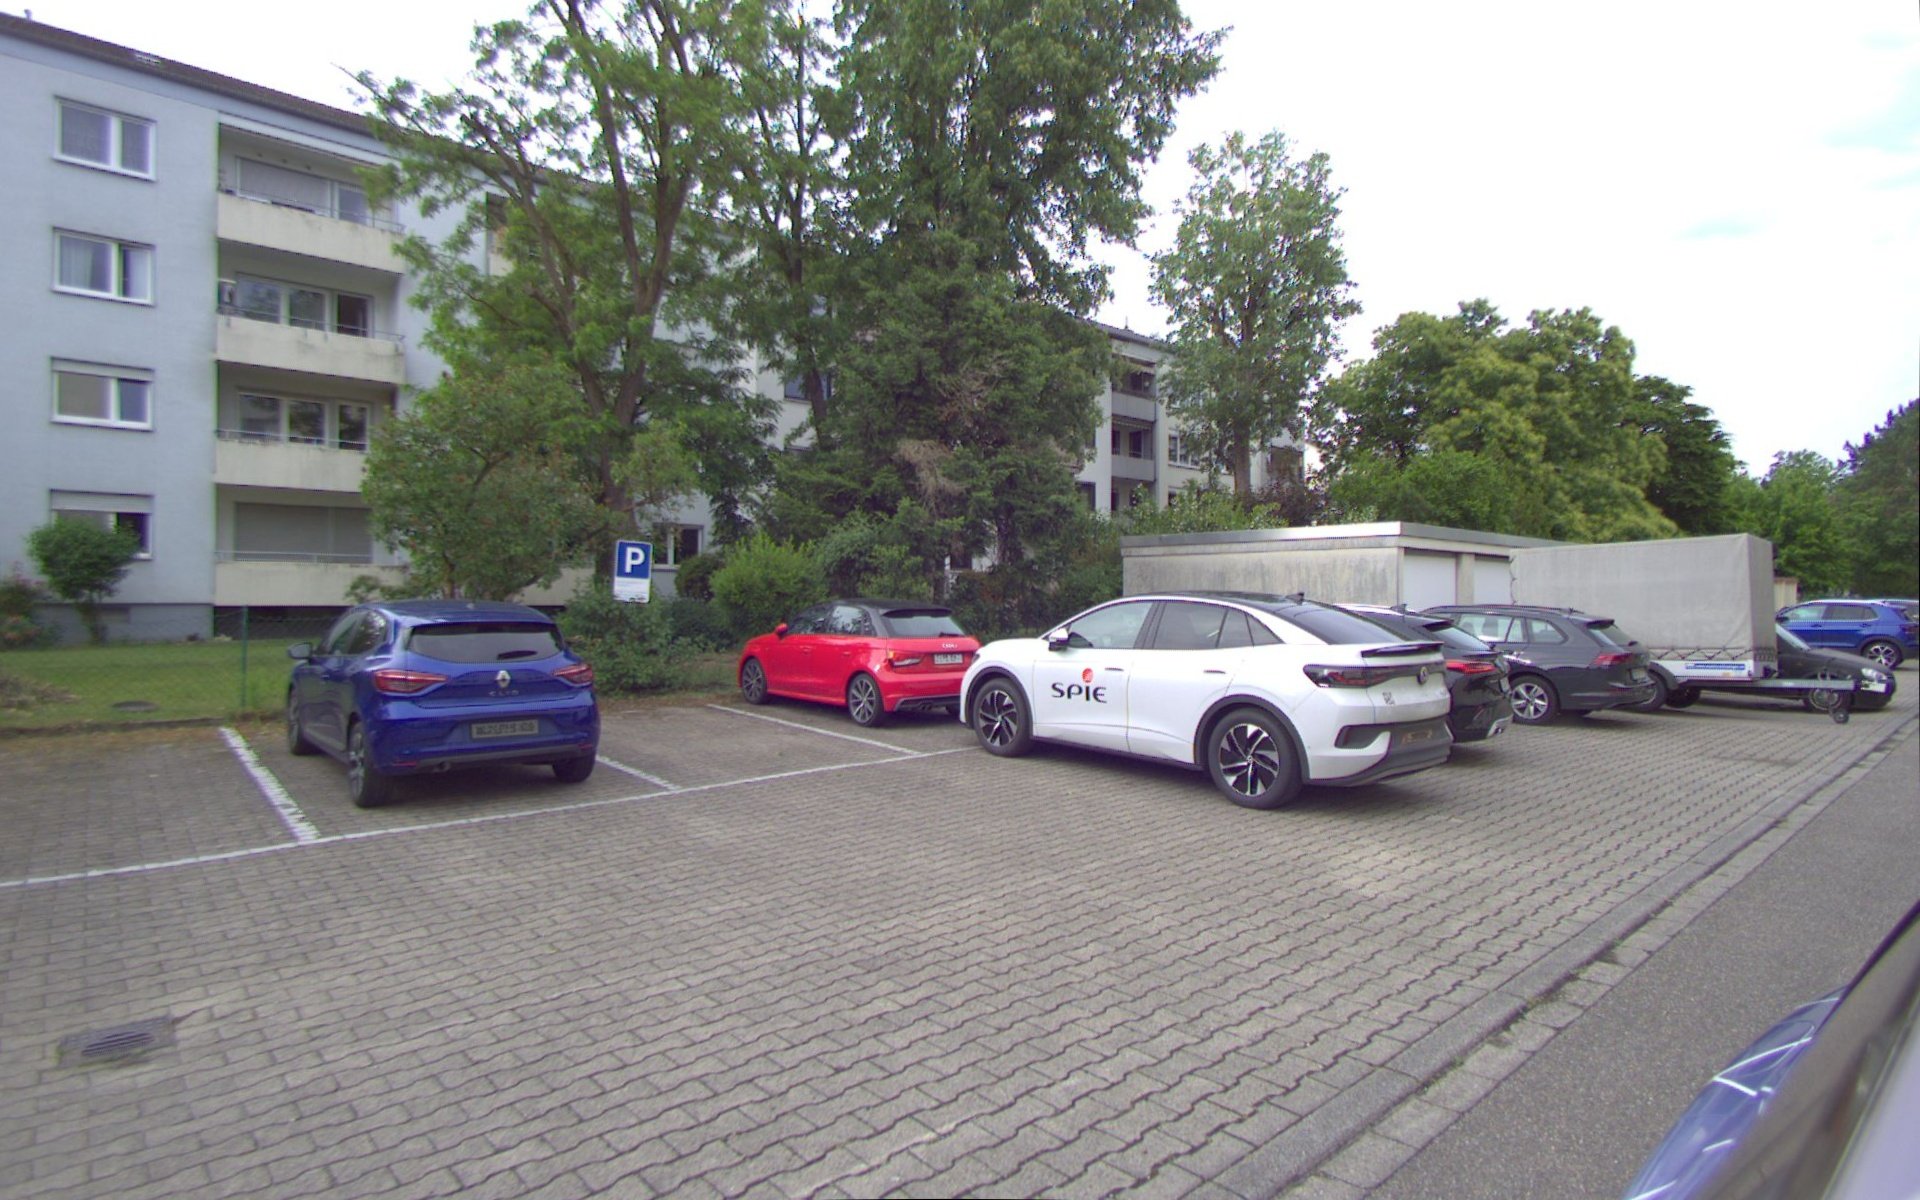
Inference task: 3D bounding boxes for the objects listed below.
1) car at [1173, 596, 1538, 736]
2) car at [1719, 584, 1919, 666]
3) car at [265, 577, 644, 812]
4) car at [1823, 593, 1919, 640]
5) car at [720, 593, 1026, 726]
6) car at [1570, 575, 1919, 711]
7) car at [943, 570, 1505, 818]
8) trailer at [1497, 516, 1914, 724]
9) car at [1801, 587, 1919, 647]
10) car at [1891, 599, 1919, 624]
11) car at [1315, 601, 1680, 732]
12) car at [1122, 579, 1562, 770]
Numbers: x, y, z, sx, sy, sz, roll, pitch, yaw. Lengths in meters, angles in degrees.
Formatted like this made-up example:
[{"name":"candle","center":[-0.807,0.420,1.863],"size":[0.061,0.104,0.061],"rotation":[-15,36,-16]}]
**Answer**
[{"name":"car","center":[4.935,0.709,13.077],"size":[1.880,1.467,4.005],"rotation":[0,0,-39]},{"name":"car","center":[21.304,0.562,24.799],"size":[1.966,1.724,3.994],"rotation":[1,2,-42]},{"name":"car","center":[-4.513,0.605,8.745],"size":[1.992,1.530,3.903],"rotation":[1,0,-41]},{"name":"car","center":[35.429,0.647,38.040],"size":[1.902,1.605,4.295],"rotation":[1,2,-42]},{"name":"car","center":[-1.227,0.625,12.839],"size":[1.937,1.398,3.903],"rotation":[1,0,-41]},{"name":"car","center":[12.840,0.577,16.701],"size":[1.966,1.824,4.318],"rotation":[1,2,-42]},{"name":"car","center":[2.029,0.595,8.959],"size":[1.952,1.609,4.546],"rotation":[1,0,-40]},{"name":"trailer","center":[10.700,0.248,14.840],"size":[1.909,2.557,4.617],"rotation":[1,-1,-41]},{"name":"car","center":[29.793,0.545,32.344],"size":[1.966,1.749,4.202],"rotation":[1,2,-42]},{"name":"car","center":[61.996,0.768,64.289],"size":[1.757,1.503,4.099],"rotation":[0,1,-42]},{"name":"car","center":[7.191,0.779,13.880],"size":[1.584,1.467,4.134],"rotation":[0,0,-42]},{"name":"car","center":[3.979,0.626,10.977],"size":[1.967,1.571,3.991],"rotation":[1,2,-44]}]
